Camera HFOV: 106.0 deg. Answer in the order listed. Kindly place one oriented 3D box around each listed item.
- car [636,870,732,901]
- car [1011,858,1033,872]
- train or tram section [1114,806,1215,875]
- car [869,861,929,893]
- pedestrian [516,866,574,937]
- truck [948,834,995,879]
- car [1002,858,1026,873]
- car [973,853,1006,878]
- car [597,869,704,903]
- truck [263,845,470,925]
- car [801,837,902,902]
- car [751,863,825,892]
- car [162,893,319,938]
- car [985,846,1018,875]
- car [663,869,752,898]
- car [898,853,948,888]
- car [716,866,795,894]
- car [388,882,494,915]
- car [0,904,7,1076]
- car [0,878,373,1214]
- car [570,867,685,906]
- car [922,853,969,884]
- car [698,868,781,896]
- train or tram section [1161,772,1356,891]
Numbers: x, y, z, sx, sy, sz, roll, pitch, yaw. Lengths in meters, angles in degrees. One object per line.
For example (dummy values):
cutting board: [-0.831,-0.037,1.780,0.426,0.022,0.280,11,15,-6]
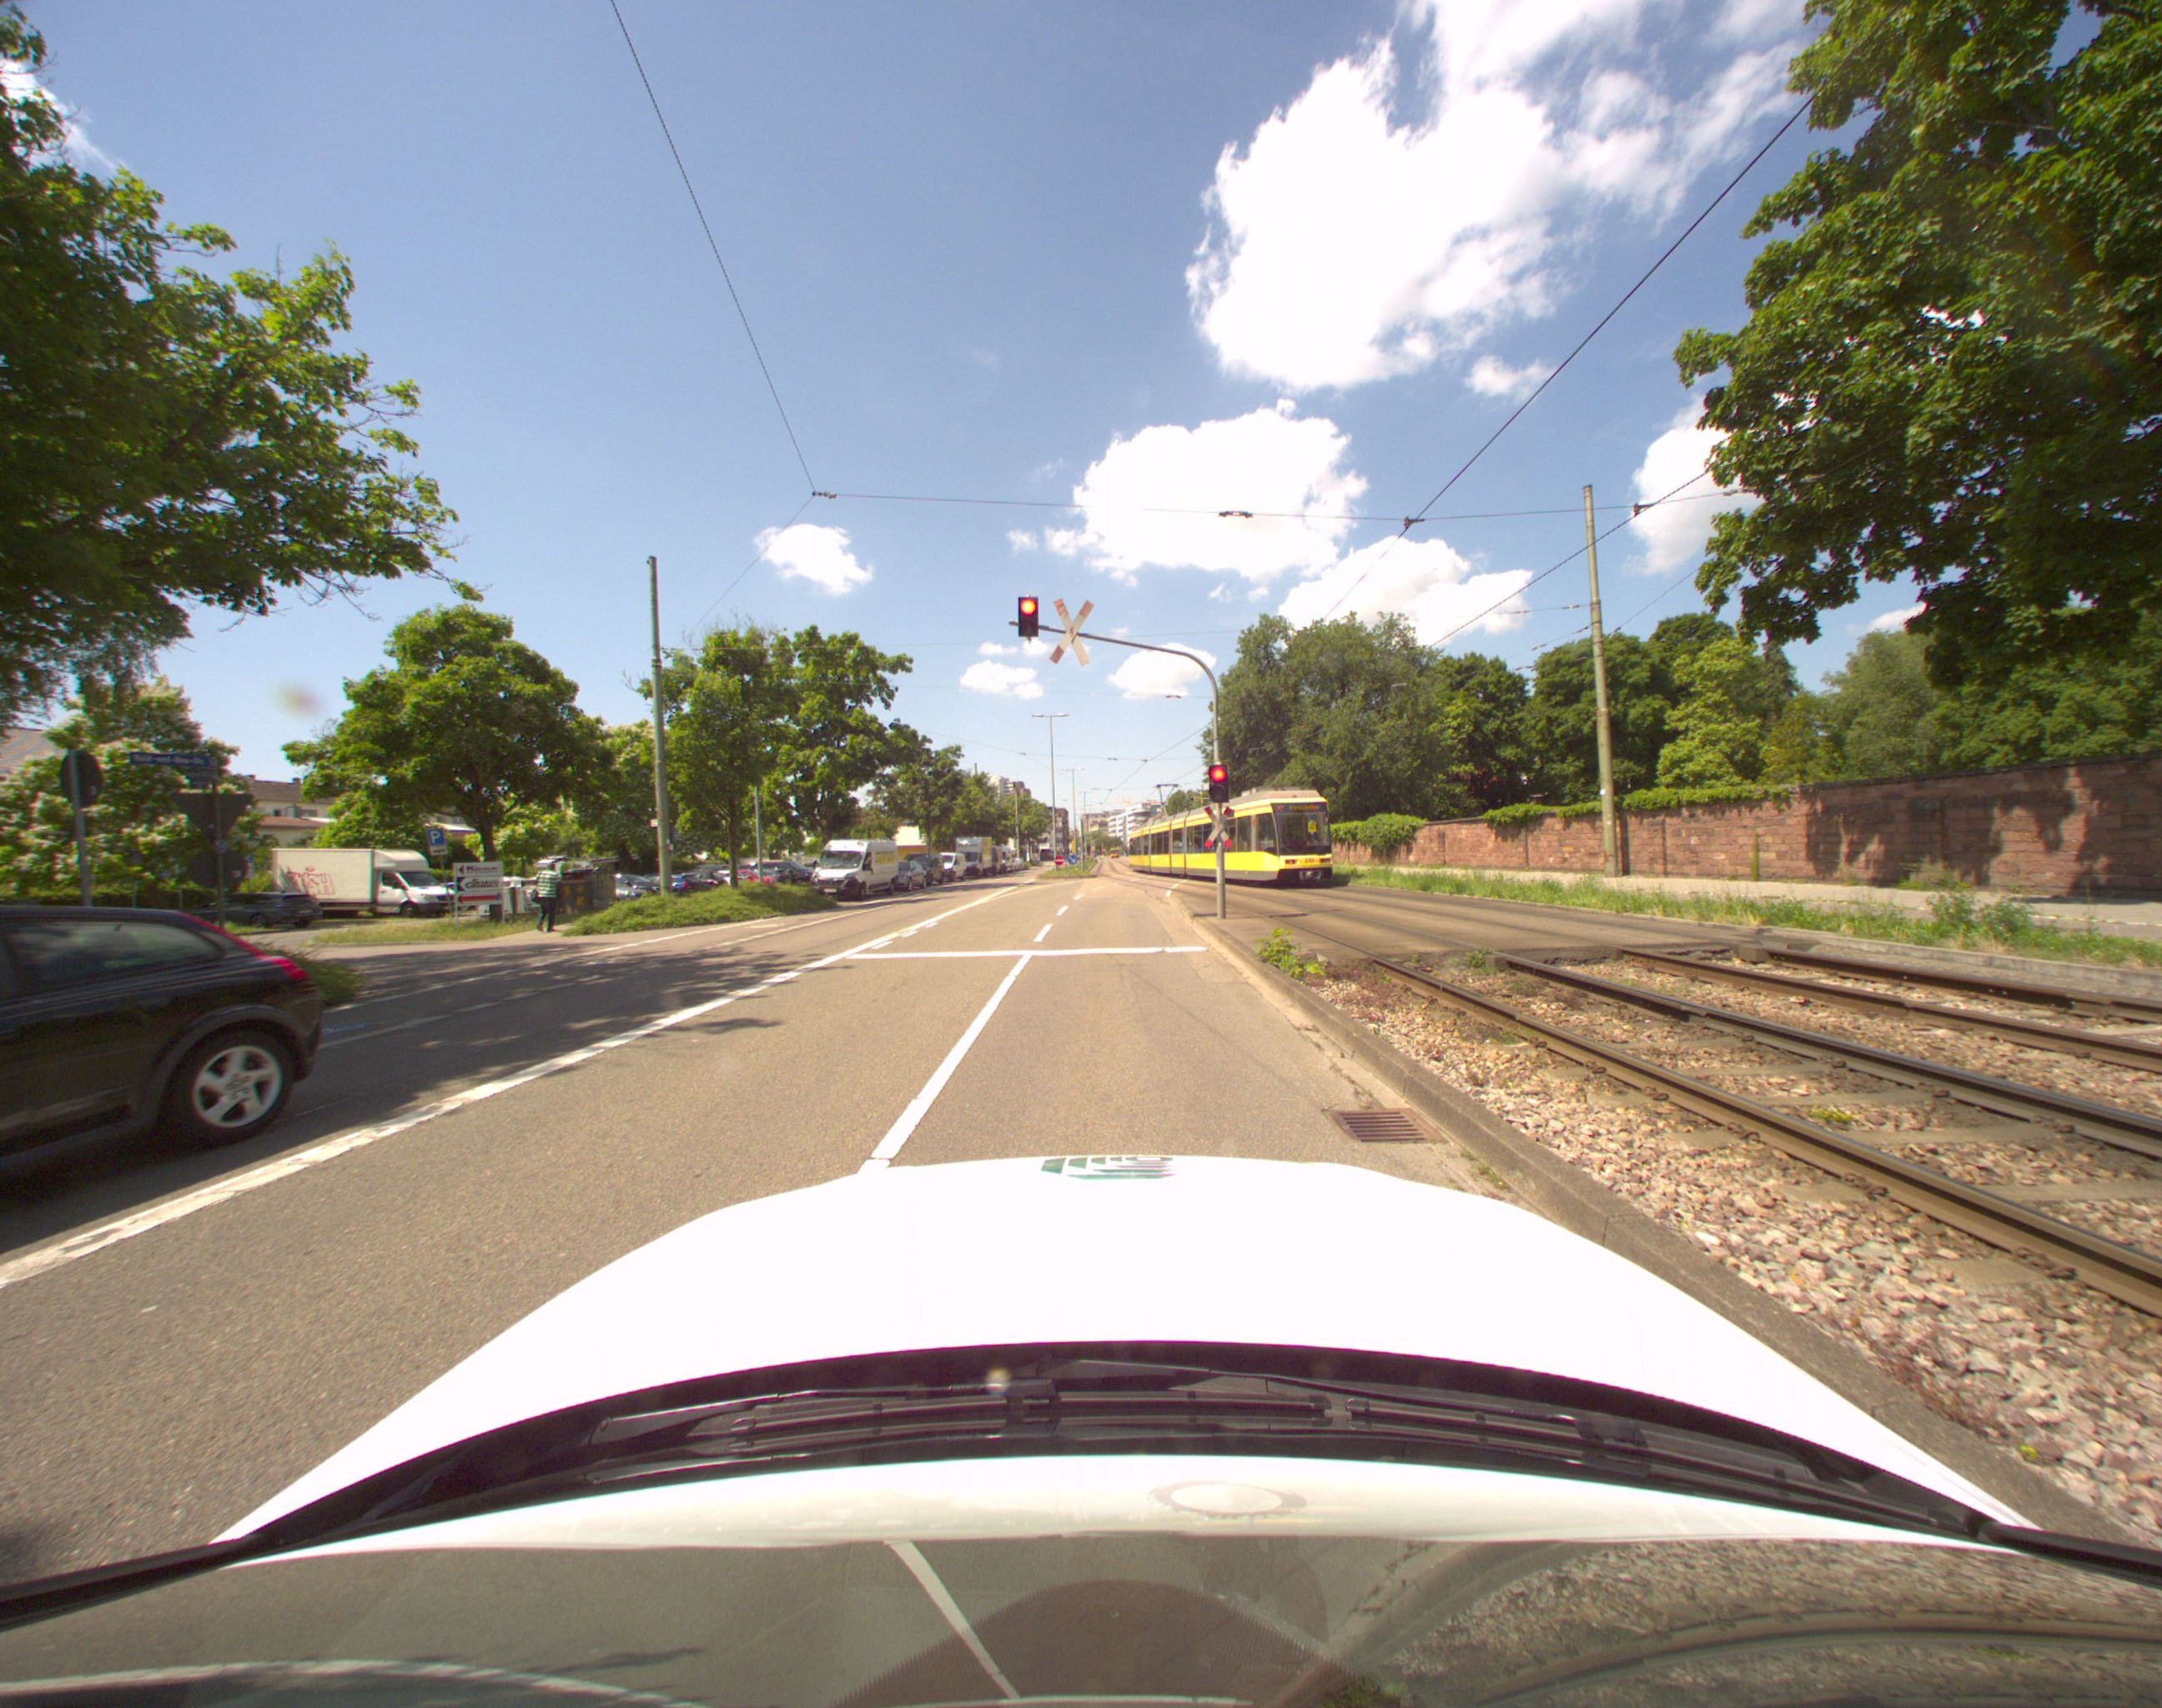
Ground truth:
car: [-20.291,1.587,41.736,3.973,1.339,1.805,-2,0,0]
car: [-7.200,1.317,99.283,2.053,1.582,4.874,-2,0,2]
train or tram section: [4.908,-0.761,54.025,2.939,3.692,20.248,-1,0,-5]
car: [-9.155,1.122,41.354,1.861,1.437,4.345,-2,0,2]
pedestrian: [-14.513,1.267,22.068,0.971,1.823,0.794,-2,0,-1]
truck: [-8.340,0.151,63.028,2.147,3.210,7.090,1,0,4]
car: [-7.513,1.282,91.781,2.053,1.582,4.874,-2,0,2]
car: [-7.881,0.954,70.419,2.053,1.976,4.874,-2,0,2]
car: [-20.179,1.472,38.272,3.973,1.339,1.805,-2,0,0]
truck: [-32.464,1.371,37.193,7.165,3.227,2.332,-2,0,-1]
car: [-9.632,0.595,34.875,2.147,2.487,6.200,1,0,4]
car: [-18.816,1.497,52.380,3.973,1.606,1.805,-2,0,0]
car: [-31.549,2.290,30.636,3.974,1.399,1.773,-2,0,0]
car: [-7.584,0.598,78.381,2.147,2.639,5.618,-1,0,4]
car: [-20.312,1.592,44.376,3.973,1.339,1.805,-2,0,0]
car: [-9.220,0.931,47.792,1.861,1.895,4.273,-2,0,2]
car: [-19.683,1.559,49.396,3.973,1.442,1.805,-3,0,1]
car: [-32.939,2.271,41.998,3.973,1.442,1.805,-2,0,0]
car: [-10.265,1.190,5.055,1.768,1.481,4.049,0,0,2]
car: [-5.561,0.923,3.342,1.672,1.398,4.006,-4,0,1]
car: [-19.896,1.414,35.843,3.973,1.442,1.805,-2,0,0]
car: [-8.999,0.937,54.385,2.053,1.898,4.874,-2,0,2]
car: [-19.631,1.604,46.929,3.973,1.339,1.805,-2,0,0]
train or tram section: [6.528,-0.760,34.861,2.938,3.692,18.359,-1,0,-5]
